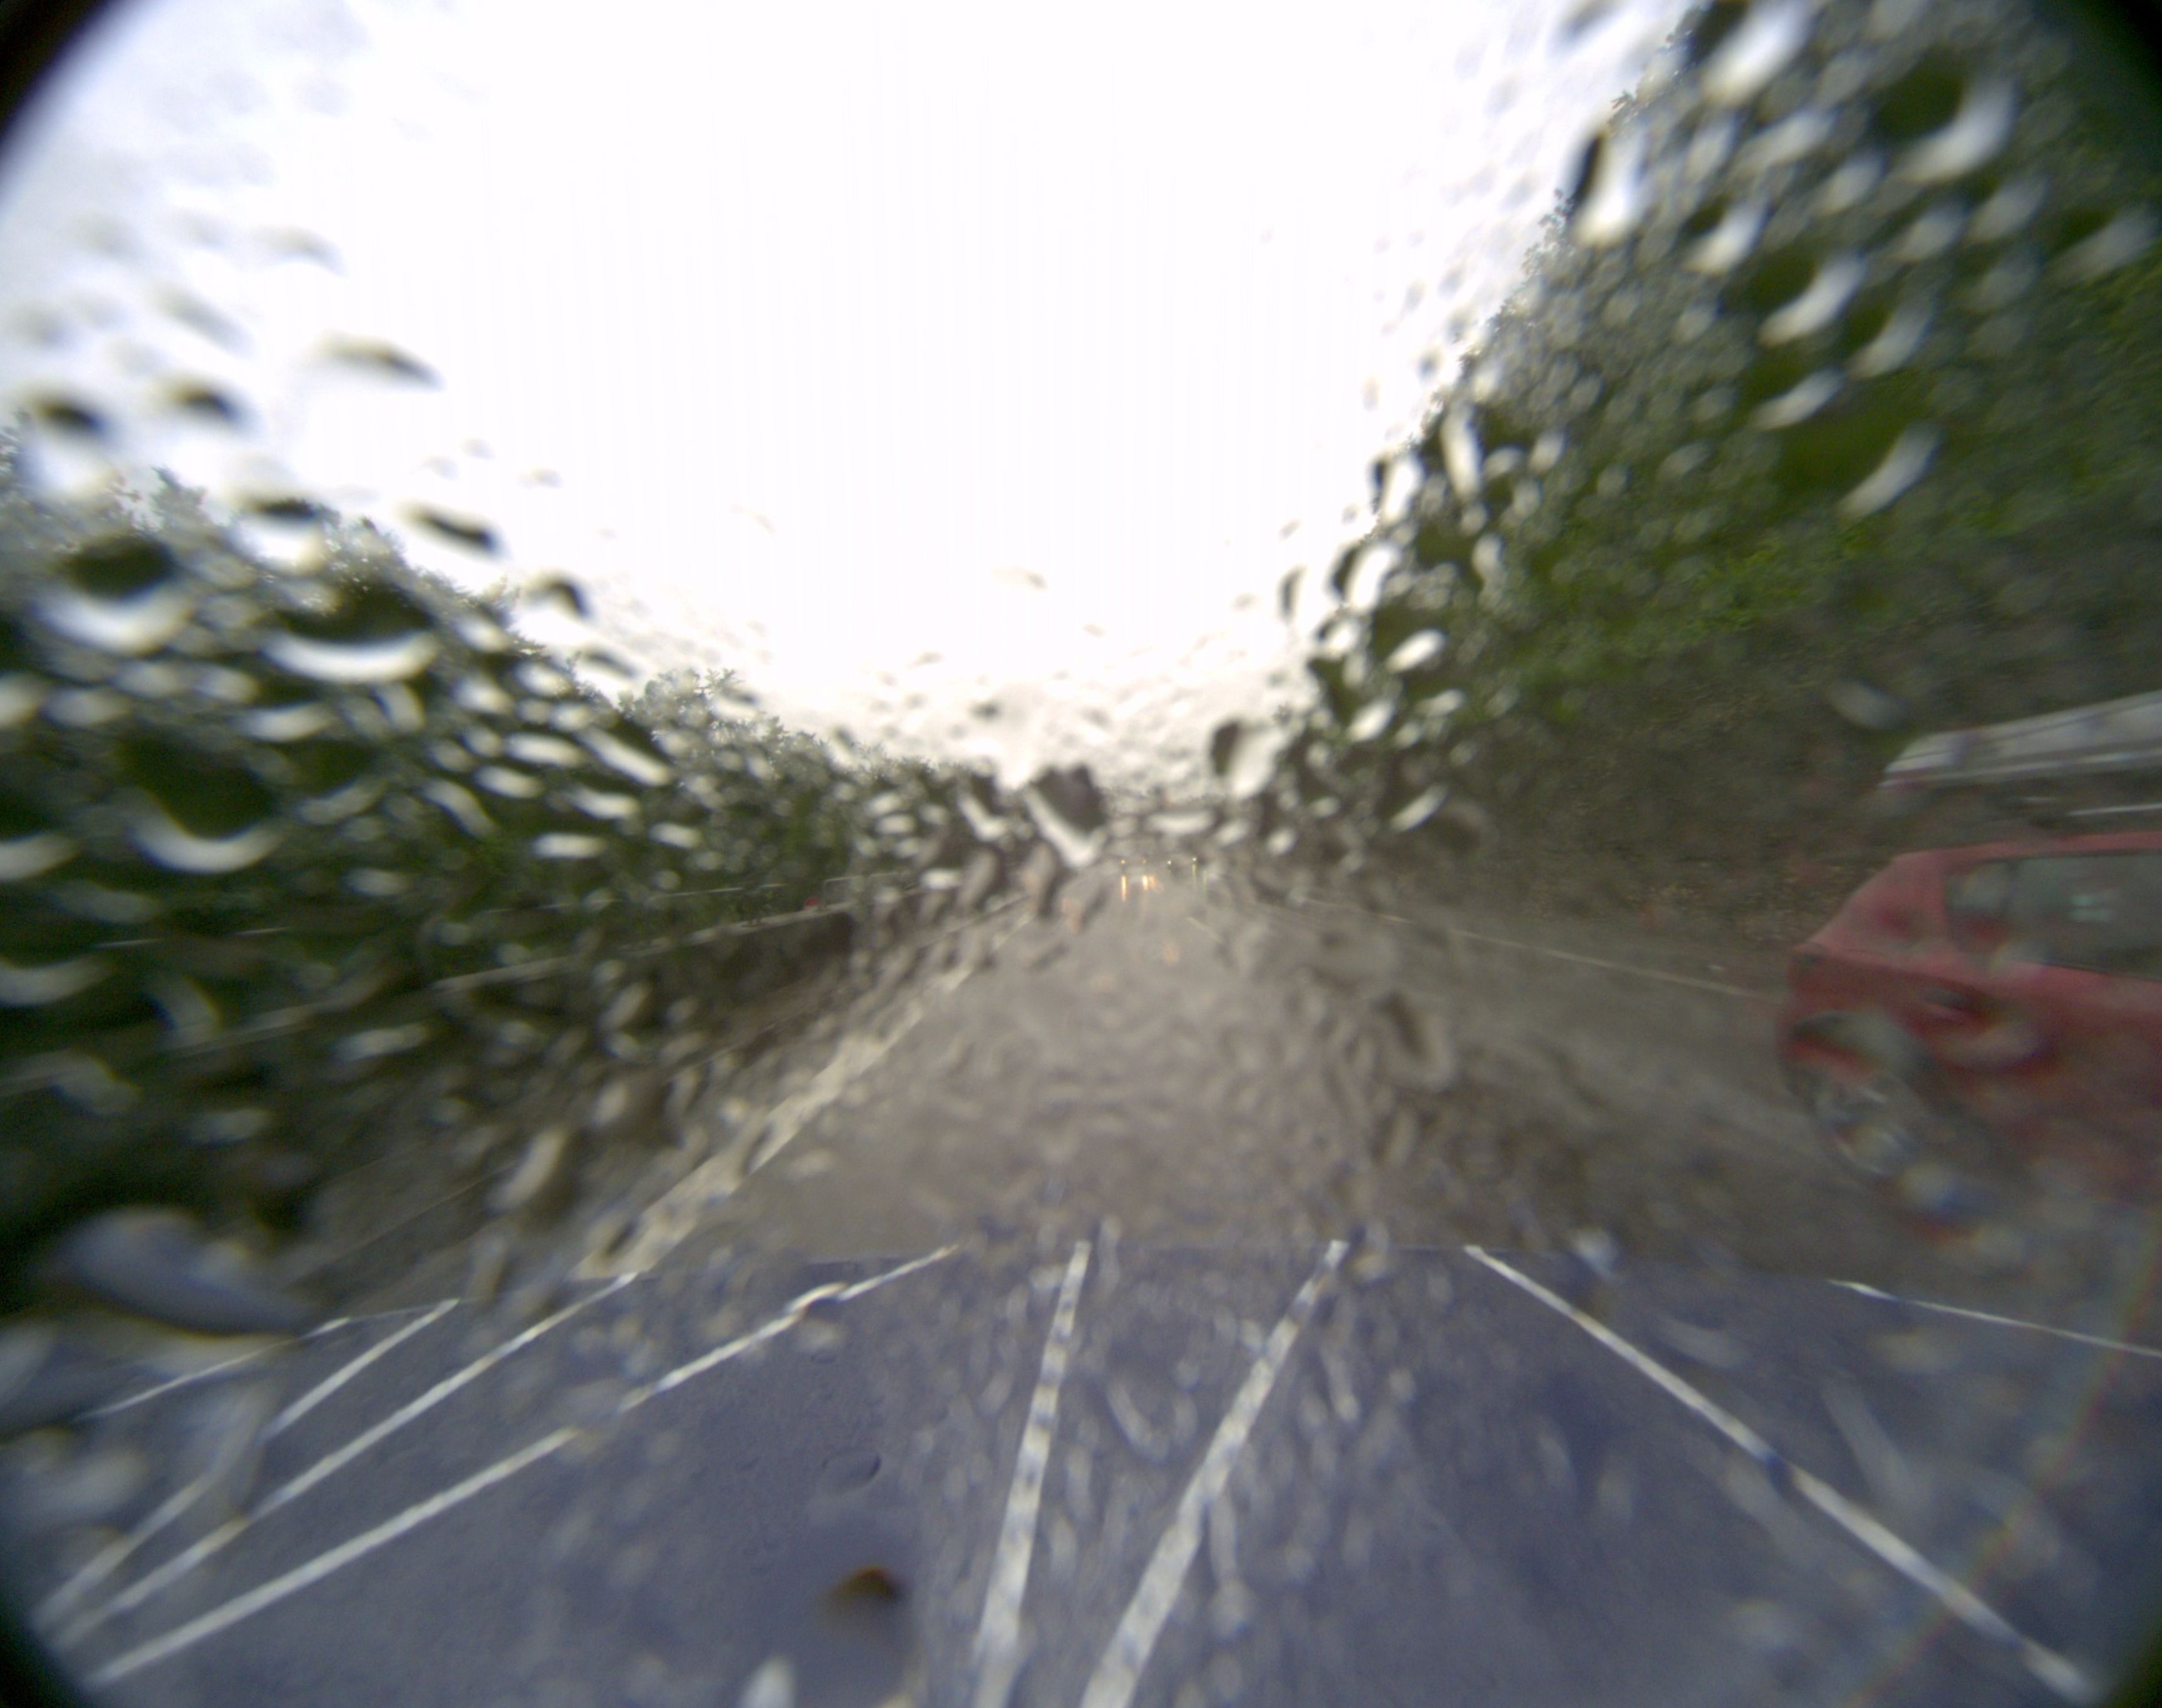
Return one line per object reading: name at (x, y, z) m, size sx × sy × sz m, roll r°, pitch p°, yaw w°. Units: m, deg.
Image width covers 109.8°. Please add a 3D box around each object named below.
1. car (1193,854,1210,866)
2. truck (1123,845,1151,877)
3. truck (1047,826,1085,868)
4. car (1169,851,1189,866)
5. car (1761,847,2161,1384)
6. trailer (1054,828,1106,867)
car at (16.156, 0.831, 101.657) m, size 1.826 × 1.375 × 4.003 m, roll -4°, pitch 0°, yaw 13°
truck at (4.667, 0.593, 62.884) m, size 2.108 × 2.481 × 8.007 m, roll 0°, pitch 0°, yaw 6°
truck at (-1.544, -0.723, 82.682) m, size 2.809 × 4.280 × 6.470 m, roll -1°, pitch 0°, yaw 10°
car at (9.740, 0.410, 75.258) m, size 1.826 × 1.375 × 4.003 m, roll -2°, pitch 0°, yaw 9°
car at (4.136, 0.763, 1.547) m, size 1.998 × 1.543 × 4.001 m, roll -2°, pitch 0°, yaw 2°
trailer at (0.135, -0.749, 90.335) m, size 2.938 × 4.280 × 14.251 m, roll -1°, pitch 0°, yaw 13°
